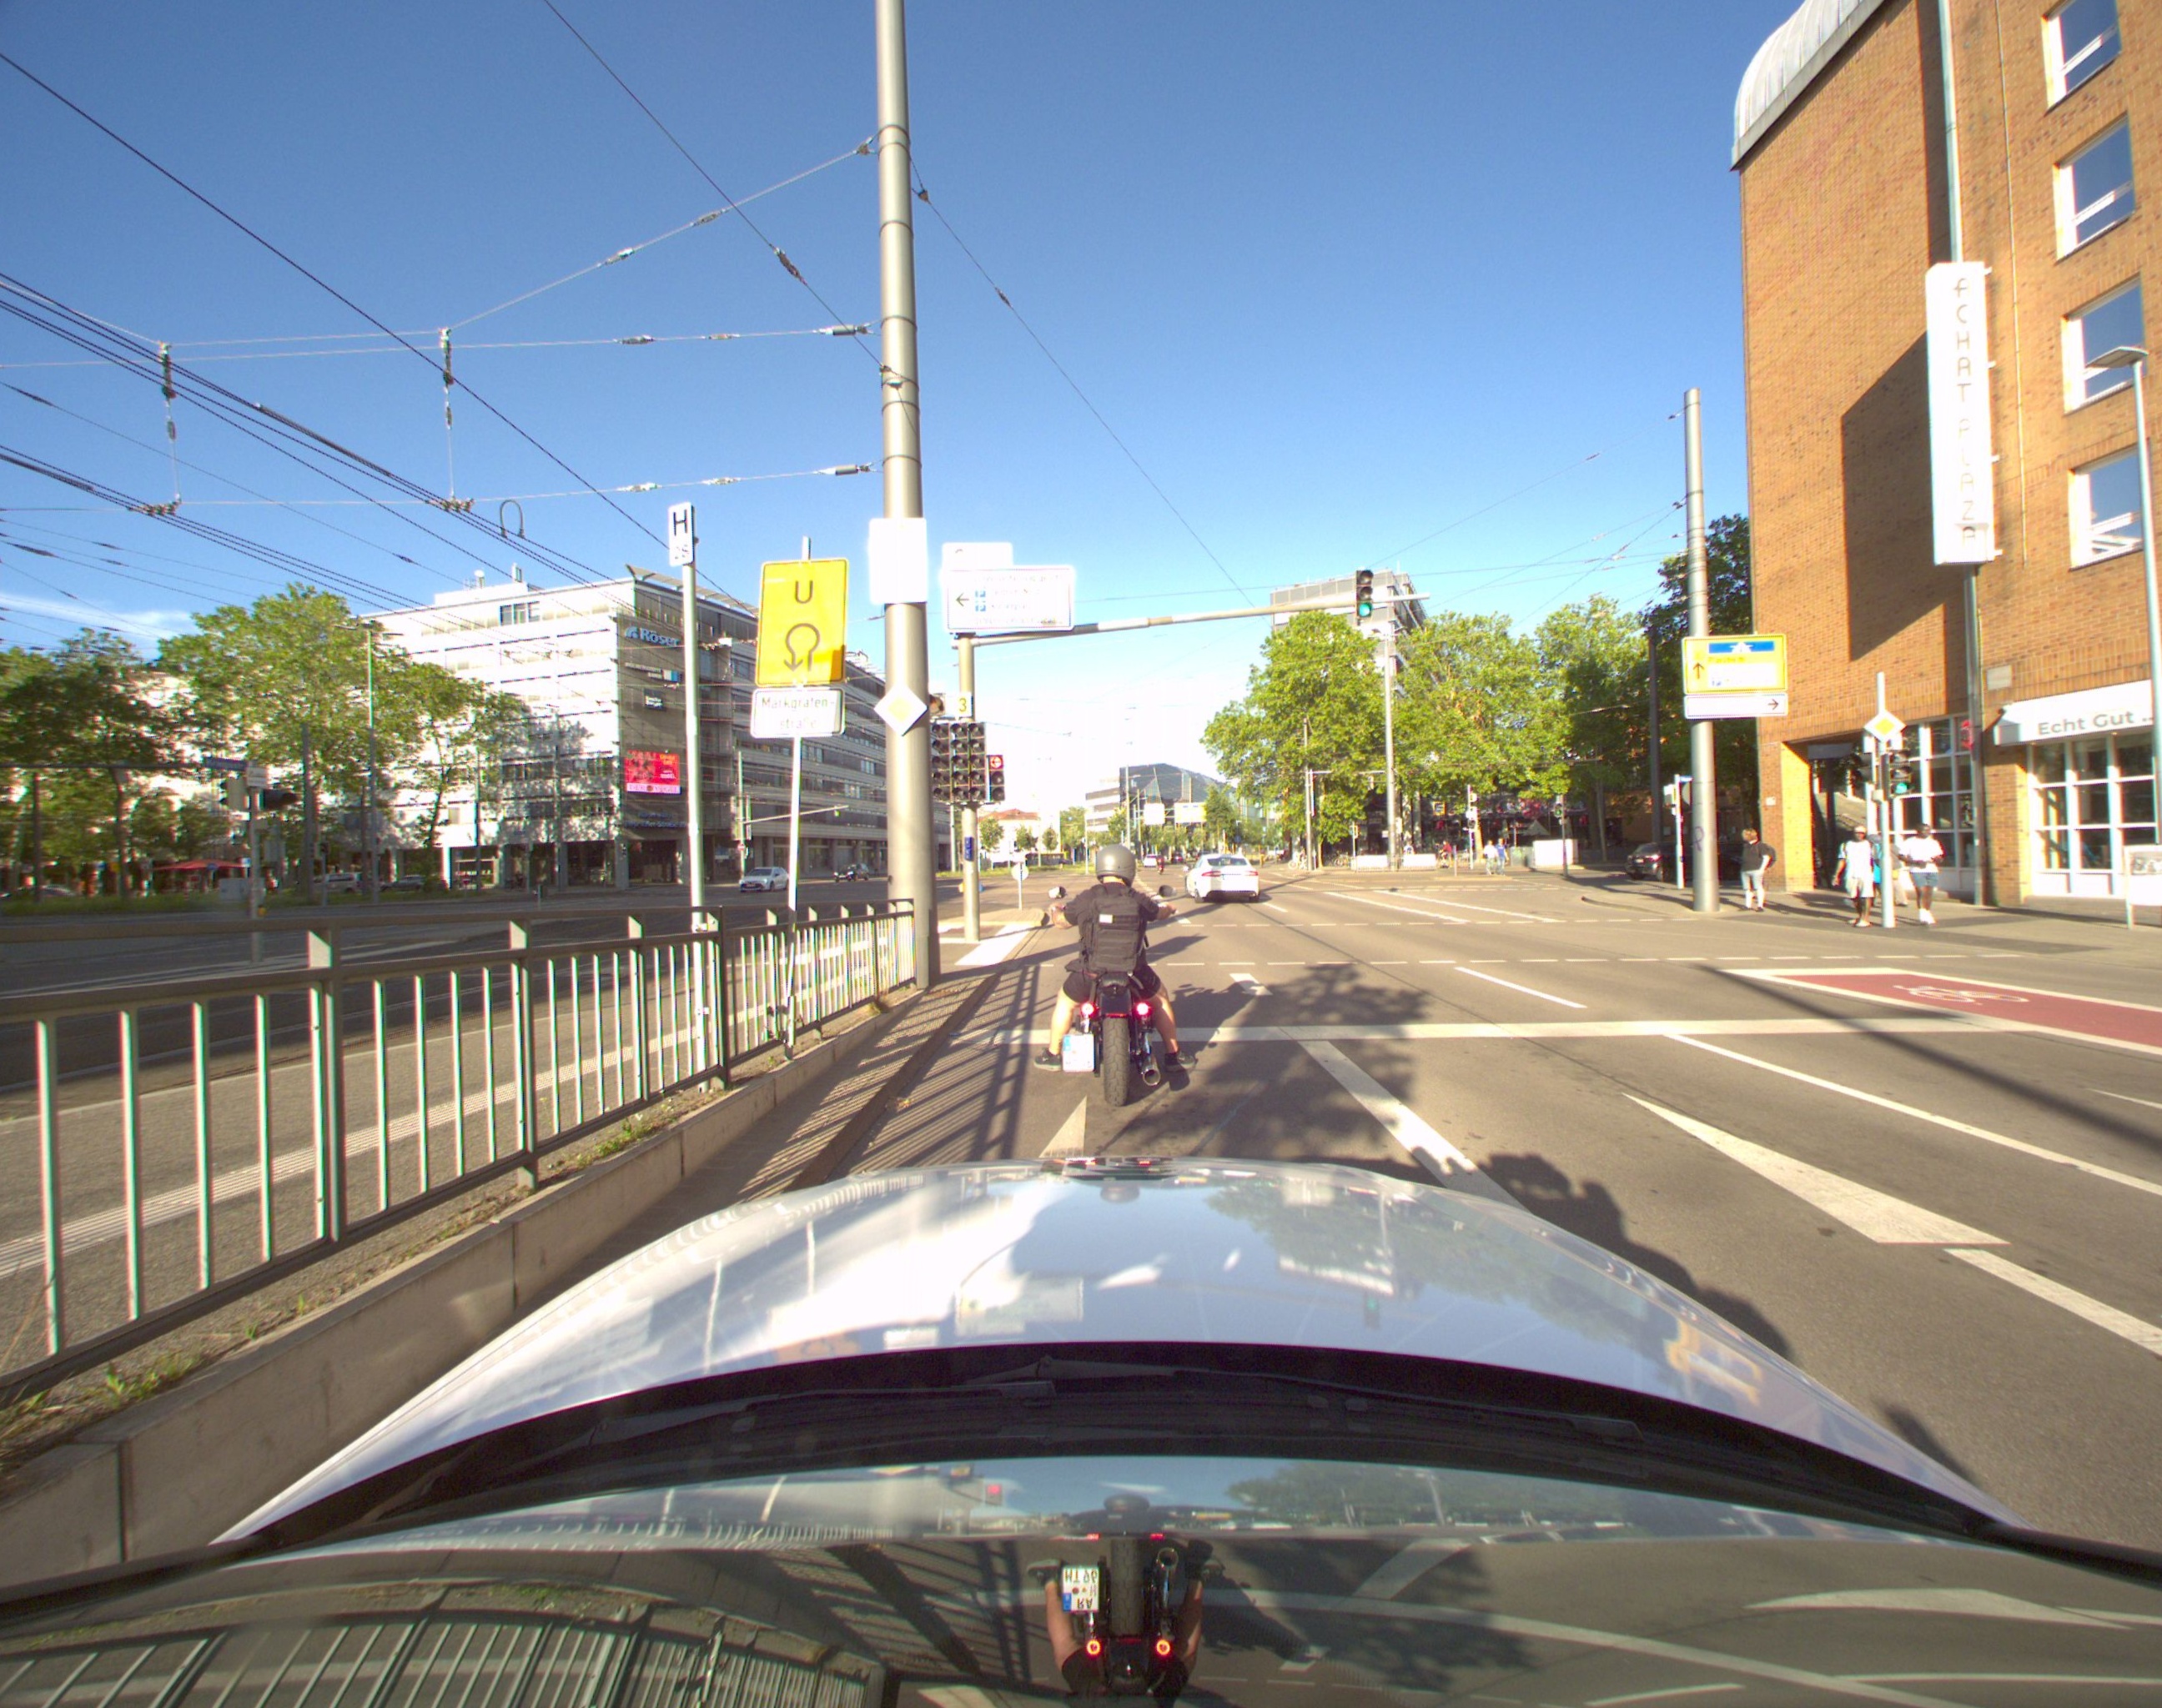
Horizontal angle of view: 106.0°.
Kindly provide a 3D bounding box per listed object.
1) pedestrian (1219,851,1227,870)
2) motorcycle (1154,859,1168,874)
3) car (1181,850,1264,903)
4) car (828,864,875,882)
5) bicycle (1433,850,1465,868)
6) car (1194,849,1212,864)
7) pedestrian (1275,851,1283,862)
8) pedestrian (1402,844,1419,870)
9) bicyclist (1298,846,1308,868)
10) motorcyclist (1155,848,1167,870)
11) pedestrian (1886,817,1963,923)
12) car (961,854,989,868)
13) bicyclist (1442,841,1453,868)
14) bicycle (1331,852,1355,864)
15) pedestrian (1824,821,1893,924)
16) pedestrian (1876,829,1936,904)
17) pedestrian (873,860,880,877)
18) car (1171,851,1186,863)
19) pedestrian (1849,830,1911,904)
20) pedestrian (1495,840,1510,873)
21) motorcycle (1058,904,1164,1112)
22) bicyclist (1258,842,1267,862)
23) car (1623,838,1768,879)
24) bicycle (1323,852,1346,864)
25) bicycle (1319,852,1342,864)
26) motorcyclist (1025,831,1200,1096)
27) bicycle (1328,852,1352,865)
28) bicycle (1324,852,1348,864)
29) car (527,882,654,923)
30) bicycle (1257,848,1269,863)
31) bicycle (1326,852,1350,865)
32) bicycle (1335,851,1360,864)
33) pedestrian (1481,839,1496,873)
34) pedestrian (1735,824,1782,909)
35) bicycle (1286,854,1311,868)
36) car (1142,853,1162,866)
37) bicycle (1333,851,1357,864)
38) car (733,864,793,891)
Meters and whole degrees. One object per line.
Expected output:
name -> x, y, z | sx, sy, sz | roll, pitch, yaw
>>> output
pedestrian -> 11.965, 0.537, 68.603 | 0.587, 1.557, 0.488 | 0, -1, -6
motorcycle -> 5.809, 0.912, 59.247 | 0.801, 1.050, 2.376 | 0, -1, 2
car -> 4.241, 0.635, 25.078 | 1.797, 1.430, 4.453 | -2, 0, 1
car -> -18.596, 1.495, 66.071 | 1.812, 1.430, 4.256 | -1, -1, 13
bicycle -> 25.357, 0.348, 56.134 | 2.034, 1.214, 0.421 | 0, -1, 2
car -> 14.624, 0.296, 97.487 | 1.719, 1.732, 4.629 | 0, 0, 14
pedestrian -> 21.975, 0.280, 90.372 | 0.814, 1.314, 0.640 | -1, -1, 11
pedestrian -> 21.353, 0.194, 52.801 | 0.829, 1.704, 0.760 | 0, -1, 2
bicyclist -> 17.729, 0.242, 64.922 | 0.682, 1.673, 0.544 | -2, -2, 21
motorcyclist -> 5.797, 0.387, 58.989 | 0.793, 1.580, 0.529 | 0, -1, 1
pedestrian -> 14.704, 0.281, 14.210 | 0.588, 1.780, 0.684 | -3, -1, 13
car -> -11.969, 0.784, 92.211 | 1.737, 1.524, 4.014 | -1, -1, 13
bicyclist -> 25.252, 0.040, 56.148 | 0.582, 1.837, 0.403 | 0, -1, 1
bicycle -> 21.537, 0.328, 66.973 | 1.874, 1.046, 0.360 | 0, -1, 1
pedestrian -> 14.010, 0.315, 14.689 | 0.587, 1.780, 0.685 | -5, 0, 22
pedestrian -> 16.735, 0.258, 16.531 | 0.590, 1.476, 0.552 | -2, -1, 2
pedestrian -> -24.044, 1.681, 95.905 | 0.628, 2.014, 0.754 | 0, -1, 2
car -> 14.202, 0.476, 118.767 | 1.791, 1.678, 4.054 | 0, -1, 12
pedestrian -> 16.164, 0.261, 16.487 | 0.590, 1.452, 0.601 | -2, -1, 2
pedestrian -> 19.501, 0.119, 37.676 | 0.561, 1.479, 0.706 | -1, -1, 22
motorcycle -> 0.205, 0.943, 5.735 | 0.598, 1.036, 2.235 | 0, 0, 2
bicyclist -> 16.701, -0.205, 74.888 | 0.693, 1.808, 0.730 | 0, -1, 6
car -> 22.978, 0.173, 30.580 | 4.007, 1.450, 1.740 | -1, 0, 6
bicycle -> 21.505, 0.349, 69.148 | 1.874, 1.046, 0.360 | 0, 0, 1
bicycle -> 21.503, 0.355, 70.300 | 1.874, 1.046, 0.360 | 0, 0, 1
motorcyclist -> 0.205, 0.671, 5.420 | 1.027, 1.593, 0.874 | -2, 0, 1
bicycle -> 21.446, 0.348, 67.530 | 1.874, 1.046, 0.360 | 0, 0, 1
bicycle -> 21.501, 0.349, 68.648 | 1.874, 1.046, 0.360 | 0, 0, 1
car -> -13.847, 1.355, 23.133 | 2.884, 1.063, 1.235 | 0, -1, -19
bicycle -> 16.663, 0.136, 74.692 | 0.722, 1.367, 2.922 | 0, -1, 6
bicycle -> 21.495, 0.355, 68.162 | 1.874, 1.046, 0.360 | 0, -1, 1
bicycle -> 21.376, 0.284, 65.378 | 1.874, 1.046, 0.360 | 0, -1, 1
pedestrian -> 18.859, 0.101, 37.711 | 0.561, 1.533, 0.706 | -1, -1, 25
pedestrian -> 14.613, 0.270, 17.571 | 0.727, 1.792, 0.515 | -1, -1, 42
bicycle -> 17.341, 0.569, 65.055 | 1.854, 1.044, 0.540 | -1, -1, 20
car -> 7.994, 0.619, 91.020 | 1.720, 1.457, 4.432 | -1, -1, 12
bicycle -> 21.440, 0.305, 66.159 | 1.874, 1.046, 0.360 | 0, -1, 1
car -> -18.569, 1.334, 47.771 | 1.821, 1.430, 4.526 | -2, 0, -2
